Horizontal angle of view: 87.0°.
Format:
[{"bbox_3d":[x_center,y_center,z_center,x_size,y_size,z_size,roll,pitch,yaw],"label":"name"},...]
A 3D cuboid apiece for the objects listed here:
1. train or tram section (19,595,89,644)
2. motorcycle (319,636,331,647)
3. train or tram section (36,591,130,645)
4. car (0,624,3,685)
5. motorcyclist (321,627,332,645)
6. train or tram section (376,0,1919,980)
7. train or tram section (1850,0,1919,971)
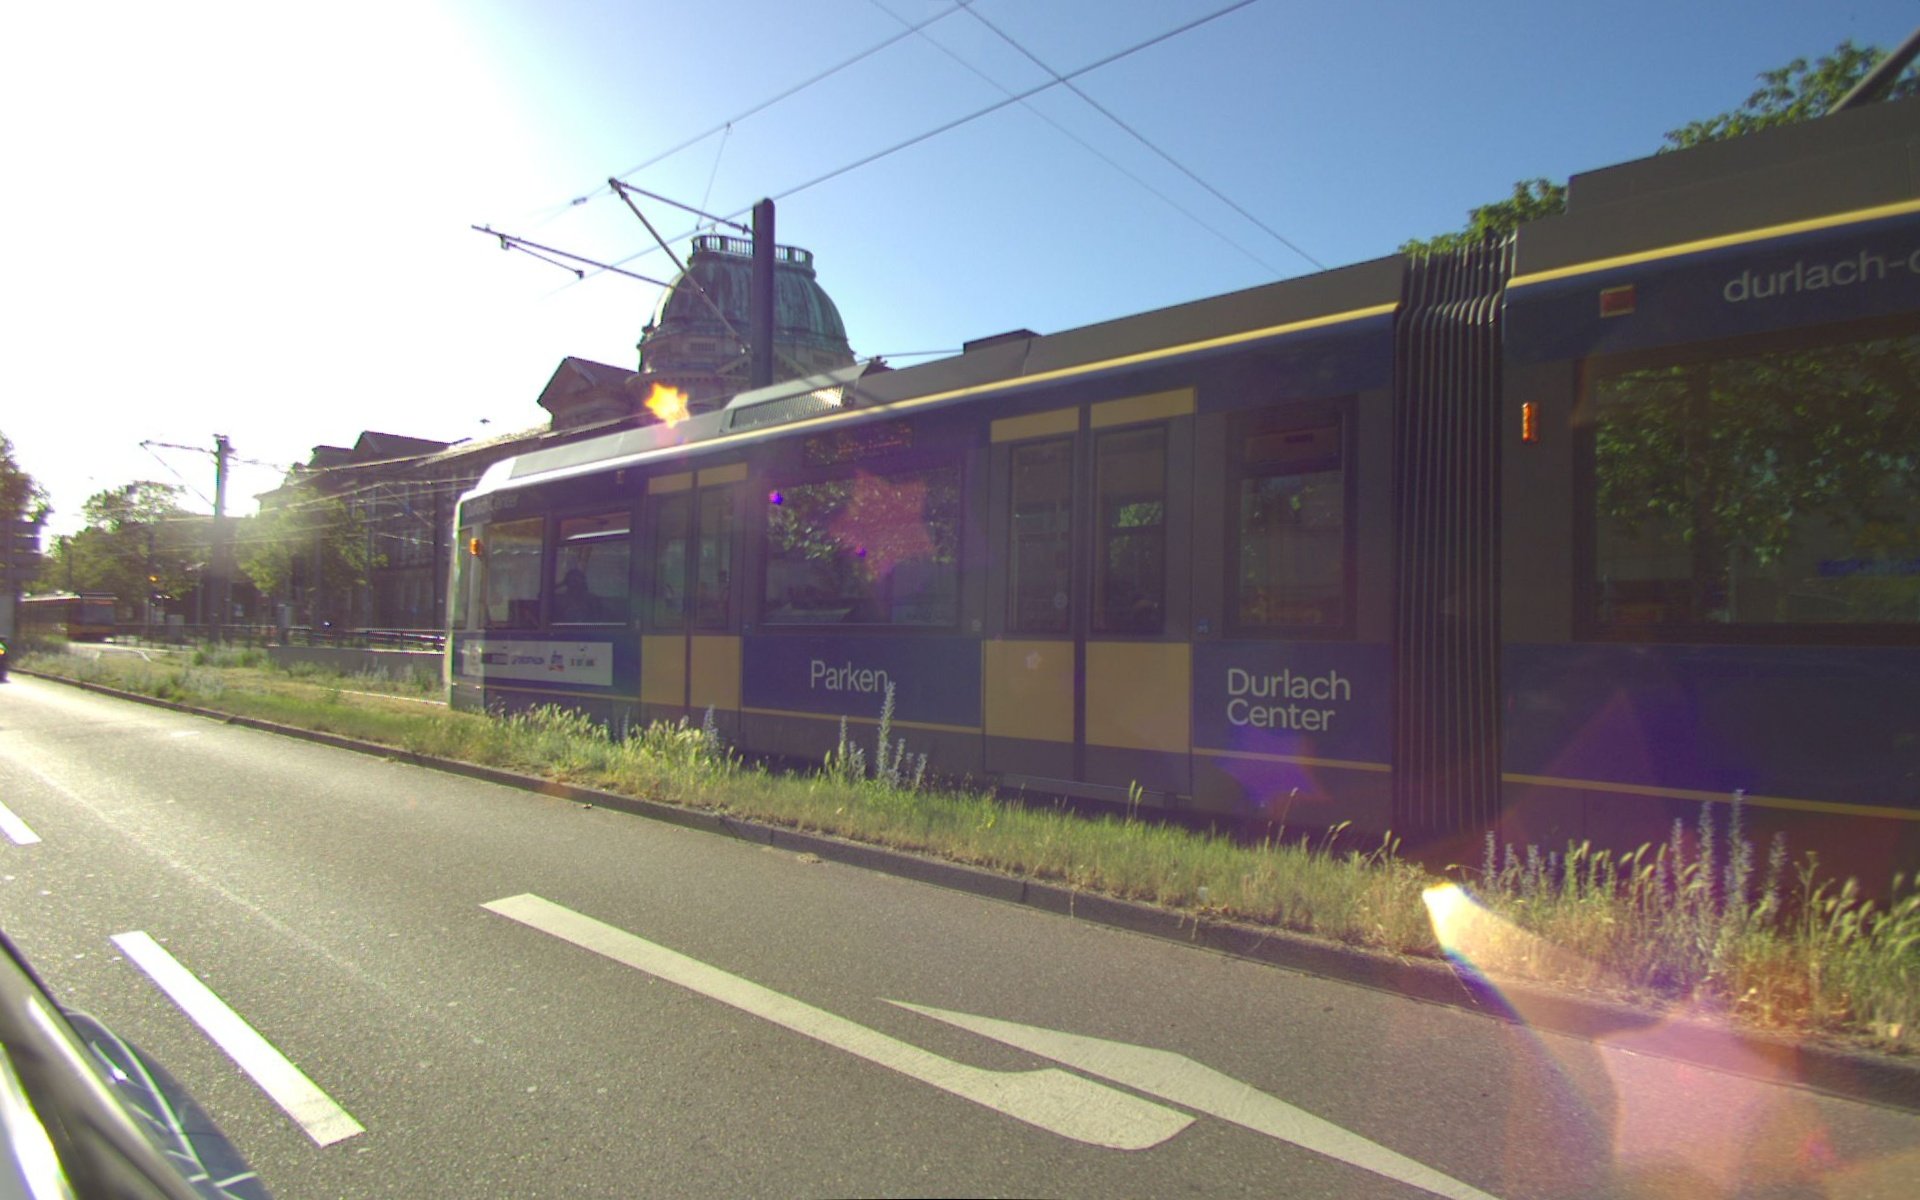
[{"bbox_3d":[-67.822,1.489,75.745,6.052,3.510,2.928,-2,-1,38],"label":"train or tram section"},{"bbox_3d":[-44.980,2.923,71.681,1.522,0.789,0.364,-1,-1,43],"label":"motorcycle"},{"bbox_3d":[-61.021,1.300,70.289,11.273,3.510,2.932,-2,-1,39],"label":"train or tram section"},{"bbox_3d":[-25.081,1.350,25.007,3.867,1.459,1.755,-2,-1,41],"label":"car"},{"bbox_3d":[-44.817,2.551,71.576,0.691,1.267,0.508,-1,-1,45],"label":"motorcyclist"},{"bbox_3d":[-1.032,-0.447,9.369,14.262,3.841,2.899,-1,-1,40],"label":"train or tram section"},{"bbox_3d":[5.821,-0.648,3.588,3.863,3.926,2.925,-1,-1,40],"label":"train or tram section"}]
